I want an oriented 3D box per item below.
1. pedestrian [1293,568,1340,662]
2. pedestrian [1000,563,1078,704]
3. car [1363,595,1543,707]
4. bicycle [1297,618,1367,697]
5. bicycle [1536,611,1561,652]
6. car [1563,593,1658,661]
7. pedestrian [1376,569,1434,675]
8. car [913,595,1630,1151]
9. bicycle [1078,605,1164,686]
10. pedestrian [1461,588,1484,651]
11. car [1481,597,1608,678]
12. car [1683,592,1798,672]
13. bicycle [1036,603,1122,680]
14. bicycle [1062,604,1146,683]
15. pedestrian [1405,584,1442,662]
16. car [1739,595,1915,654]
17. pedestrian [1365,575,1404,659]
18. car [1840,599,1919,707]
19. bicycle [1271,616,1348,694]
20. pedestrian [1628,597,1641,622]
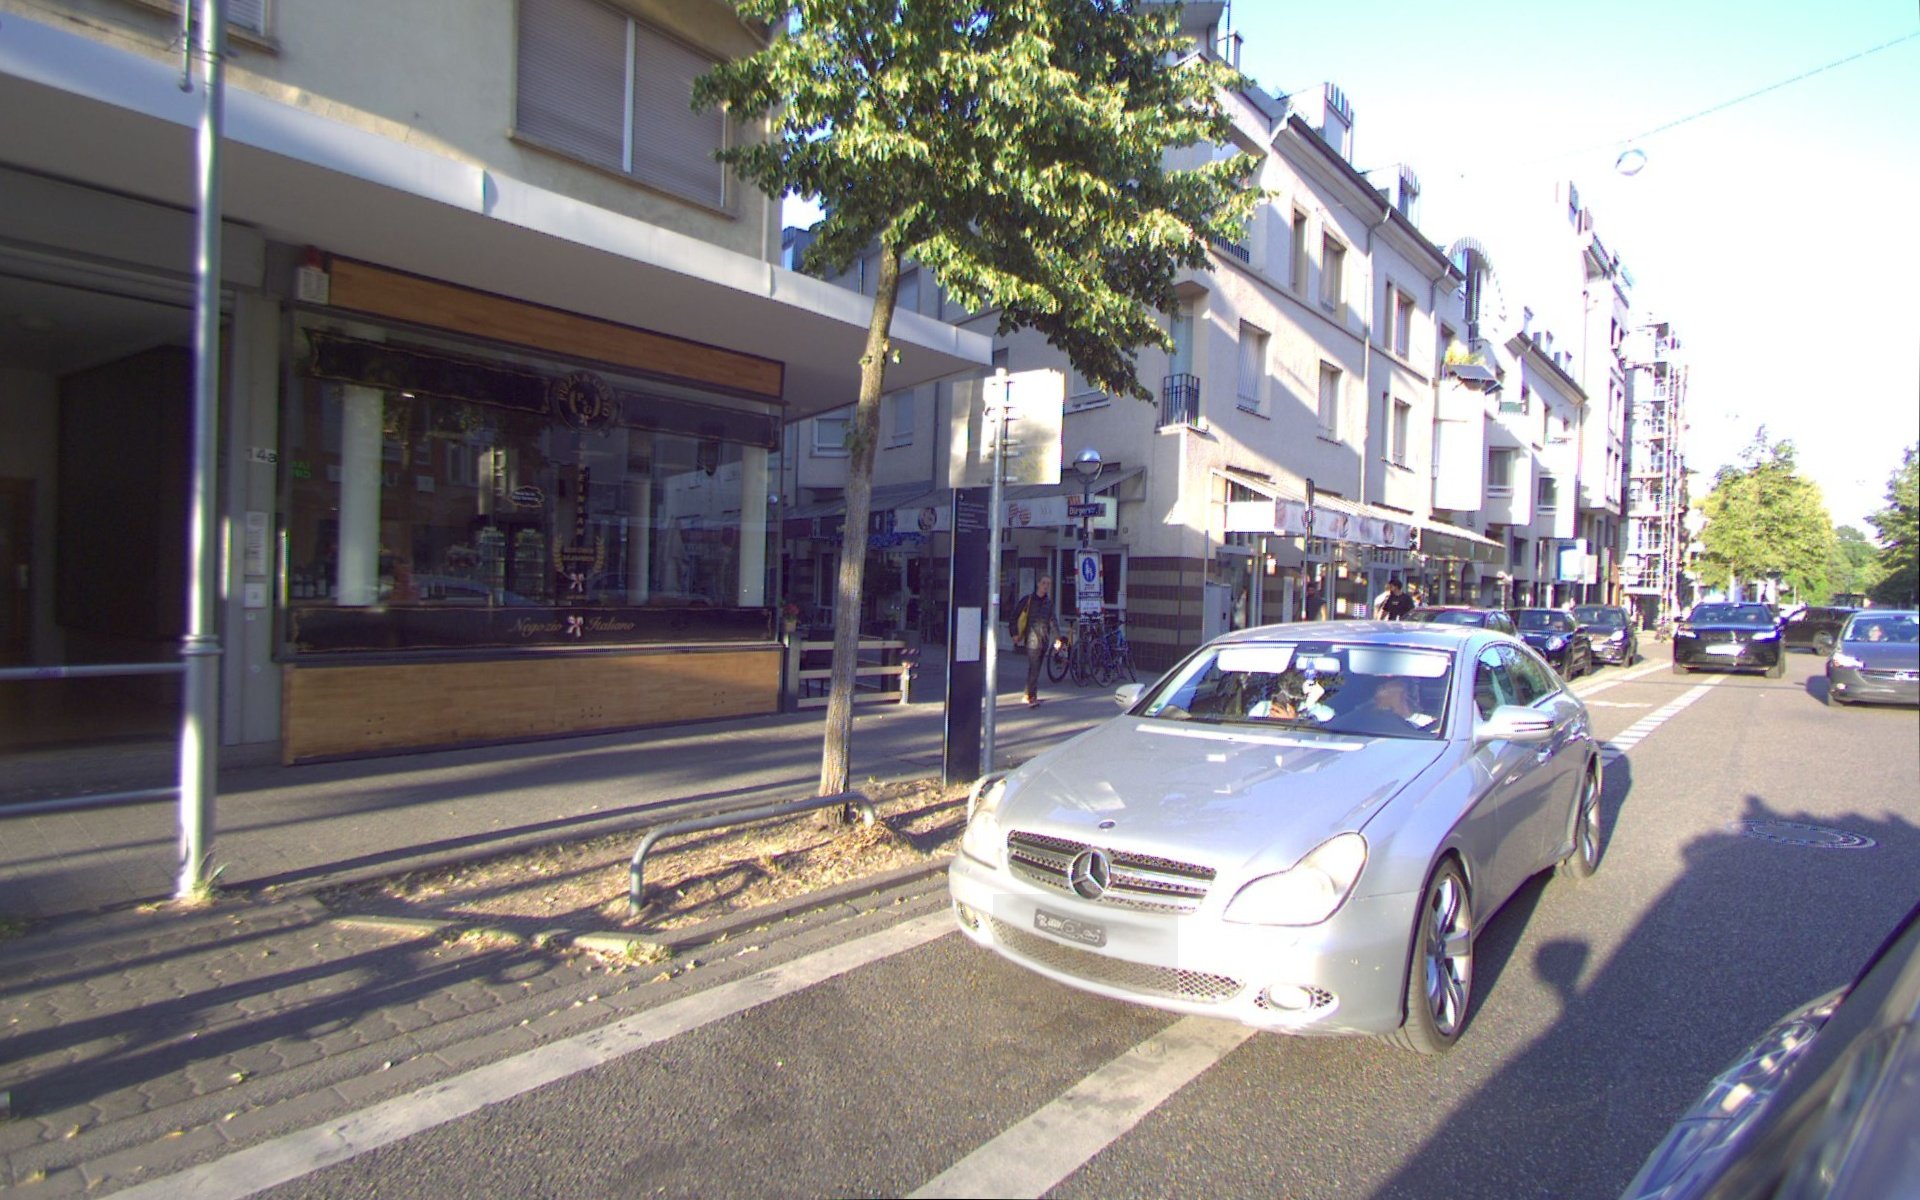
[{"bbox_3d":[6.989,0.283,19.837,0.629,1.771,0.660,3,1,41],"label":"pedestrian"},{"bbox_3d":[0.982,0.401,12.714,0.688,1.696,0.799,2,2,-13],"label":"pedestrian"},{"bbox_3d":[7.778,0.696,15.787,1.587,1.451,3.868,4,2,40],"label":"car"},{"bbox_3d":[5.466,0.813,14.840,0.314,1.059,1.638,3,2,43],"label":"bicycle"},{"bbox_3d":[16.272,0.862,27.970,0.295,1.099,1.441,1,1,41],"label":"bicycle"},{"bbox_3d":[17.180,0.668,26.660,1.615,1.612,3.868,2,1,40],"label":"car"},{"bbox_3d":[8.202,0.399,18.653,0.776,1.907,0.660,-2,-2,41],"label":"pedestrian"},{"bbox_3d":[1.955,0.713,5.005,1.740,1.418,4.572,1,1,40],"label":"car"},{"bbox_3d":[2.444,0.646,15.163,0.320,1.118,1.851,2,1,41],"label":"bicycle"},{"bbox_3d":[14.906,0.558,29.421,0.570,1.823,0.446,0,0,24],"label":"pedestrian"},{"bbox_3d":[12.249,0.714,21.119,1.615,1.452,3.868,3,2,40],"label":"car"},{"bbox_3d":[17.920,0.666,23.162,1.884,1.656,4.165,0,0,41],"label":"car"},{"bbox_3d":[1.874,0.613,15.721,0.320,1.118,1.851,2,1,41],"label":"bicycle"},{"bbox_3d":[2.211,0.633,15.368,0.290,1.118,1.859,2,1,41],"label":"bicycle"},{"bbox_3d":[9.964,0.486,21.768,0.519,1.612,0.402,5,3,41],"label":"pedestrian"},{"bbox_3d":[28.959,0.757,33.897,1.706,1.696,4.288,1,2,-42],"label":"car"},{"bbox_3d":[9.332,0.366,22.242,0.543,1.779,0.495,5,3,41],"label":"pedestrian"},{"bbox_3d":[14.567,0.745,15.479,1.616,1.492,3.634,0,0,41],"label":"car"},{"bbox_3d":[5.240,0.788,15.103,0.314,1.059,1.853,3,2,43],"label":"bicycle"},{"bbox_3d":[33.865,0.473,50.780,0.490,1.279,0.415,0,0,42],"label":"pedestrian"}]
